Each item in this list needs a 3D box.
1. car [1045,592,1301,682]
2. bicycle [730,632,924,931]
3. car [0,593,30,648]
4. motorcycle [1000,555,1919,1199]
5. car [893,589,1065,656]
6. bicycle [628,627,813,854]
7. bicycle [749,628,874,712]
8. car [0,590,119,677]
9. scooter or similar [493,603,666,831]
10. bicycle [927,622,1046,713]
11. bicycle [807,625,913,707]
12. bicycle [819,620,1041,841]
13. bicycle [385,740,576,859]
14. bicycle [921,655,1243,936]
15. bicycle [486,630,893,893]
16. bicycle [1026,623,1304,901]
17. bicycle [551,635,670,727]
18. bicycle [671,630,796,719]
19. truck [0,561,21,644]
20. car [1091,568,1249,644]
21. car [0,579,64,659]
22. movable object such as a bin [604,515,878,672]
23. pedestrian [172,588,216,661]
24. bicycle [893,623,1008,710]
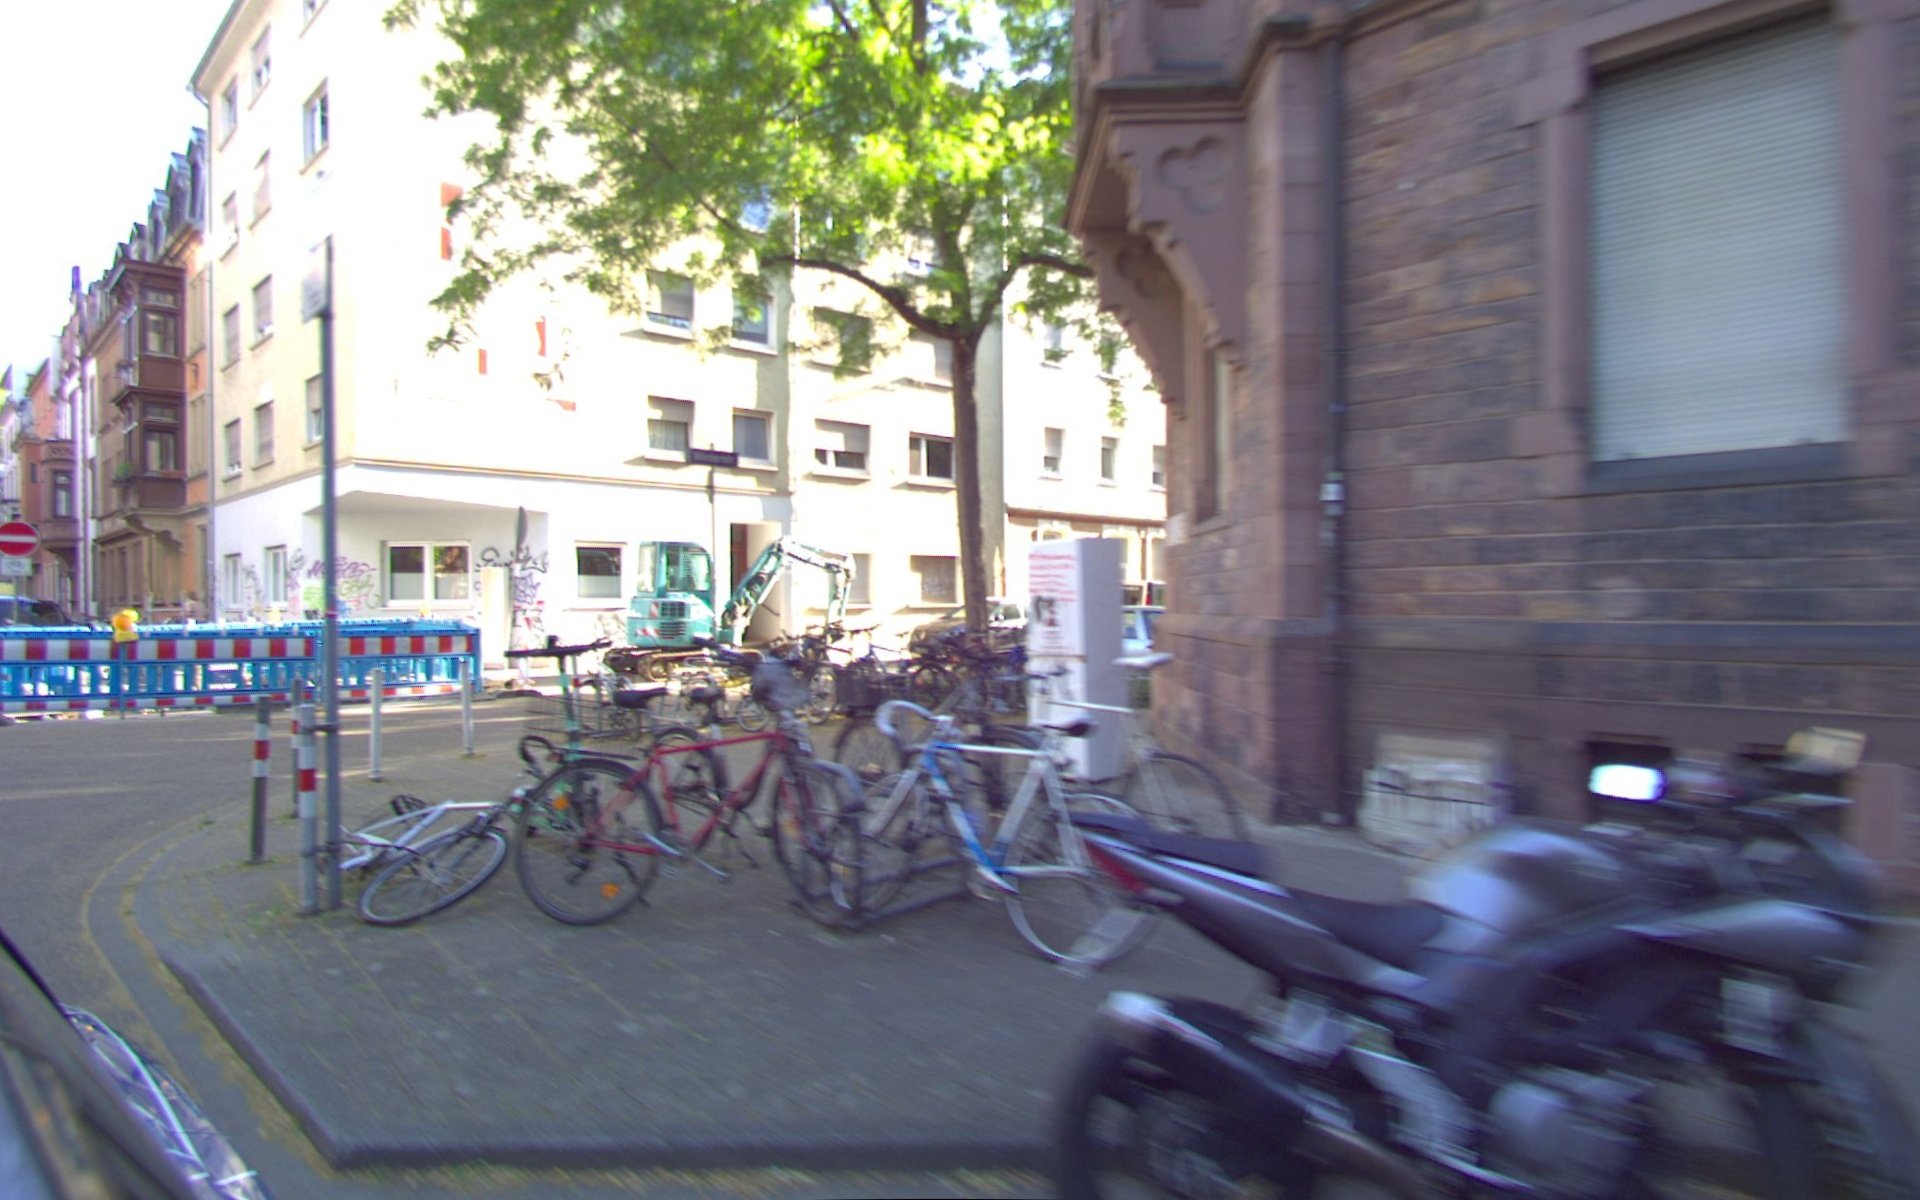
[{"bbox_3d":[3.306,0.523,15.750,3.711,1.232,1.585,1,1,17],"label":"car"},{"bbox_3d":[-0.592,0.670,4.195,0.230,1.050,1.200,-1,0,-36],"label":"bicycle"},{"bbox_3d":[-29.688,0.619,30.643,4.000,1.604,1.972,0,-1,43],"label":"car"},{"bbox_3d":[1.269,0.573,2.159,2.293,1.260,0.702,1,-1,-2],"label":"motorcycle"},{"bbox_3d":[0.510,0.489,24.443,3.938,1.452,1.817,0,1,-42],"label":"car"},{"bbox_3d":[-1.259,0.680,5.195,1.196,1.050,0.231,-3,-1,40],"label":"bicycle"},{"bbox_3d":[-1.806,0.822,12.154,1.757,0.933,0.485,-3,-2,43],"label":"bicycle"},{"bbox_3d":[-19.791,0.671,21.902,3.996,1.718,1.754,-1,-1,40],"label":"car"},{"bbox_3d":[-2.213,0.636,5.828,1.165,1.183,0.440,-4,-2,43],"label":"scooter or similar"},{"bbox_3d":[0.314,0.735,11.319,1.402,0.933,0.313,-1,-2,-36],"label":"bicycle"},{"bbox_3d":[-1.275,0.802,12.567,0.484,0.933,1.761,-1,-2,-35],"label":"bicycle"},{"bbox_3d":[-0.211,0.650,5.445,1.452,1.050,0.230,-3,-2,45],"label":"bicycle"},{"bbox_3d":[-2.546,1.018,5.333,1.196,0.446,0.446,-3,-1,40],"label":"bicycle"},{"bbox_3d":[0.440,0.724,4.134,1.420,0.913,0.231,1,2,41],"label":"bicycle"},{"bbox_3d":[-1.121,0.662,4.261,1.661,1.050,0.234,0,2,3],"label":"bicycle"},{"bbox_3d":[0.857,0.645,4.483,1.296,1.050,0.230,0,1,45],"label":"bicycle"},{"bbox_3d":[-3.907,0.877,11.237,1.757,0.933,0.485,-3,-2,43],"label":"bicycle"},{"bbox_3d":[-2.633,0.837,11.636,1.757,0.933,0.485,-3,-2,43],"label":"bicycle"},{"bbox_3d":[-33.551,0.080,34.410,5.885,2.679,1.945,0,-2,43],"label":"truck"},{"bbox_3d":[6.164,0.146,29.376,4.693,2.021,2.003,0,1,-40],"label":"car"},{"bbox_3d":[-23.633,0.458,24.925,3.996,1.866,1.782,-1,-1,40],"label":"car"},{"bbox_3d":[-4.285,-0.164,20.400,5.077,2.768,2.002,0,2,-43],"label":"movable object such as a bin"},{"bbox_3d":[-17.188,0.541,22.707,0.597,1.607,0.662,-1,-1,39],"label":"pedestrian"},{"bbox_3d":[-0.100,0.760,11.883,1.402,0.933,0.313,-1,-2,-36],"label":"bicycle"}]
